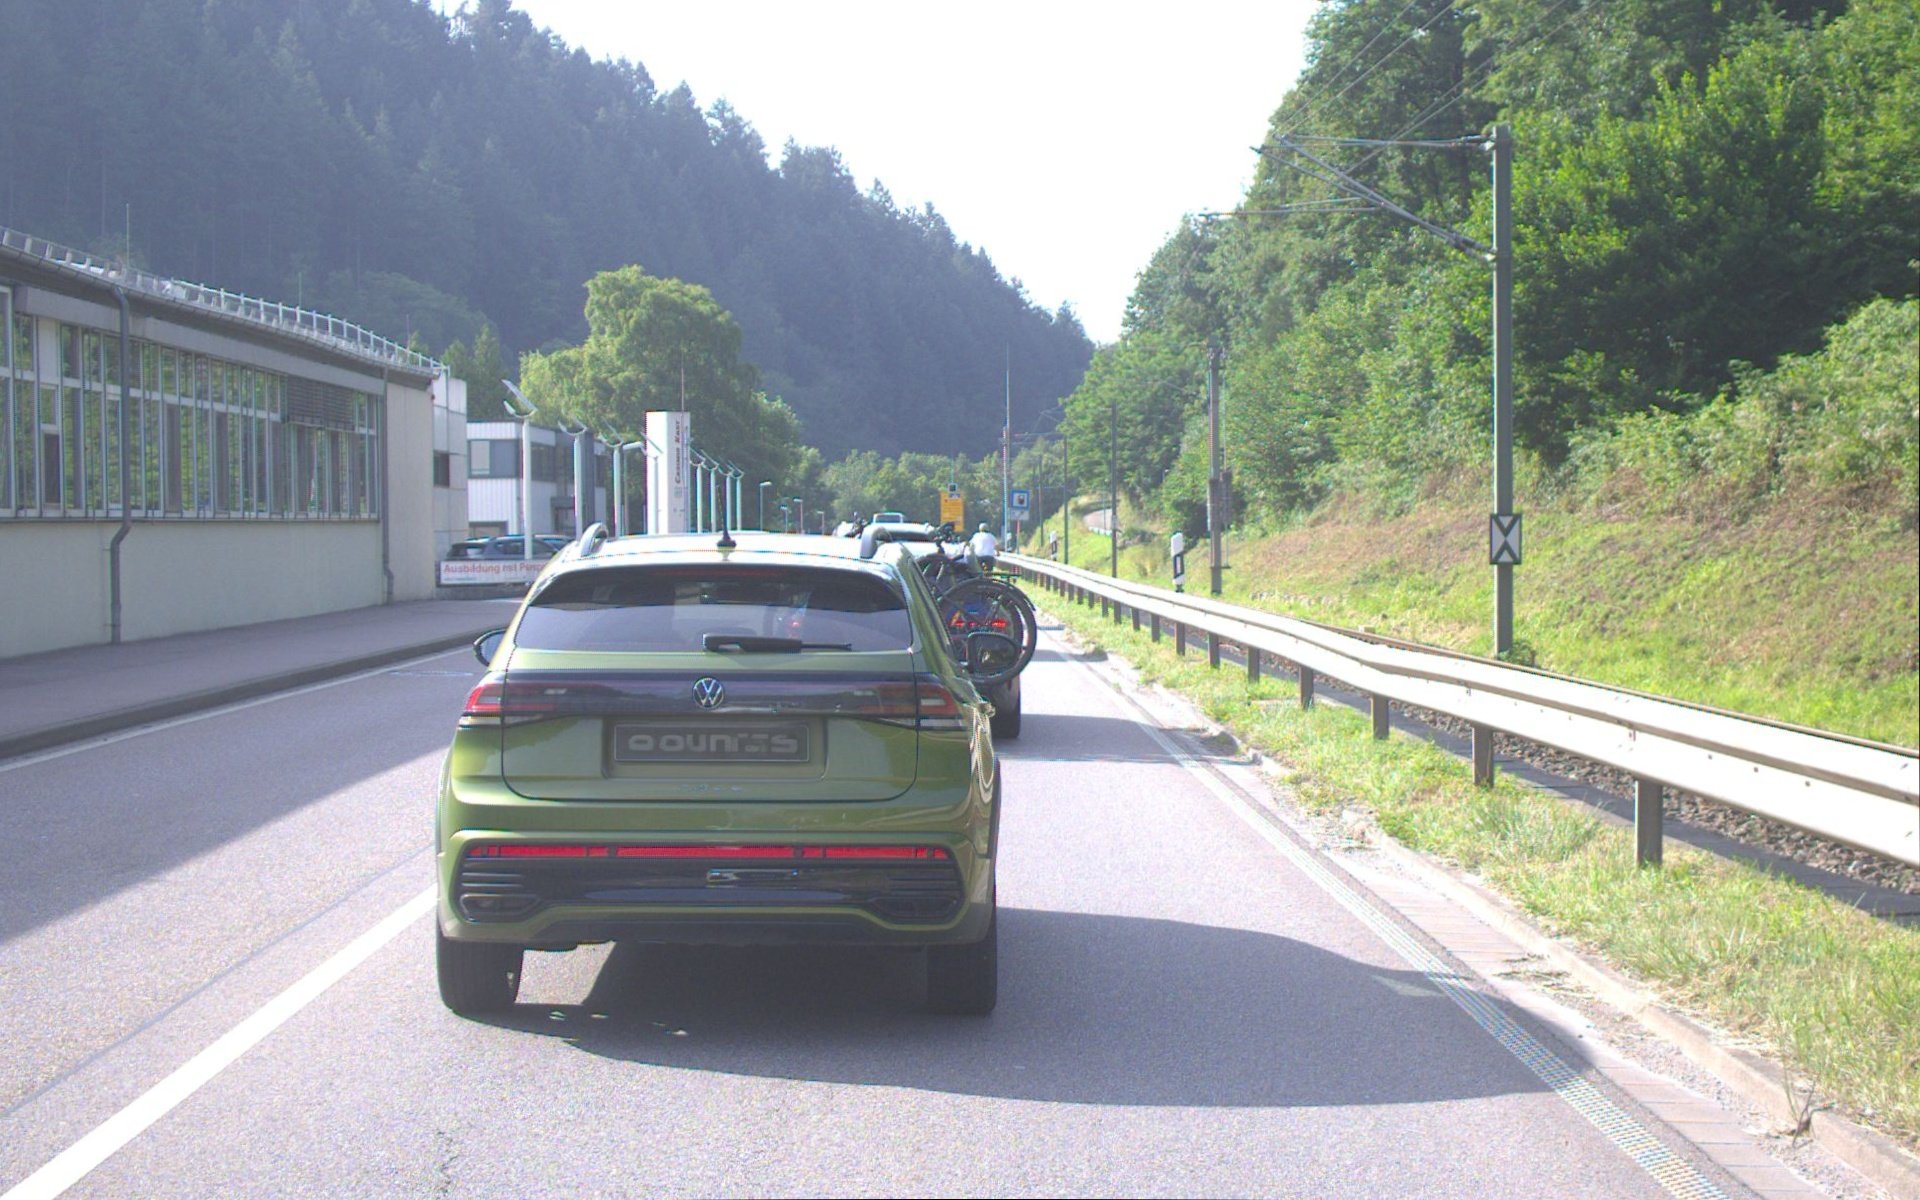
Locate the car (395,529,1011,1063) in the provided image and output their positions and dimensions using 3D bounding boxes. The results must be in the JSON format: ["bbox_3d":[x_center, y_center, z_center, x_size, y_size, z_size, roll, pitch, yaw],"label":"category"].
[{"bbox_3d":[-0.779,0.513,11.722,1.739,1.503,4.000,0,1,-2],"label":"car"}]

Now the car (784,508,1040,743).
[{"bbox_3d":[-0.383,0.133,25.509,1.739,1.596,4.000,0,1,-2],"label":"car"}]

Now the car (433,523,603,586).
[{"bbox_3d":[-11.417,-1.196,88.947,1.887,1.586,4.165,1,2,41],"label":"car"}]

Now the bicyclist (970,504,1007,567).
[{"bbox_3d":[0.641,-1.445,77.022,0.781,1.407,0.675,0,1,-2],"label":"bicyclist"}]

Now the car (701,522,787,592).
[{"bbox_3d":[-4.827,-0.990,77.321,1.719,1.509,4.199,1,1,-1],"label":"car"}]

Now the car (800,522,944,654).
[{"bbox_3d":[-1.117,-0.190,43.706,1.739,1.596,4.000,0,1,-2],"label":"car"}]

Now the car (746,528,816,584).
[{"bbox_3d":[-4.929,-1.234,95.168,1.773,1.485,4.052,1,1,-1],"label":"car"}]

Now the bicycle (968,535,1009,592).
[{"bbox_3d":[0.631,-0.831,77.133,0.811,1.246,2.123,0,1,-3],"label":"bicycle"}]
